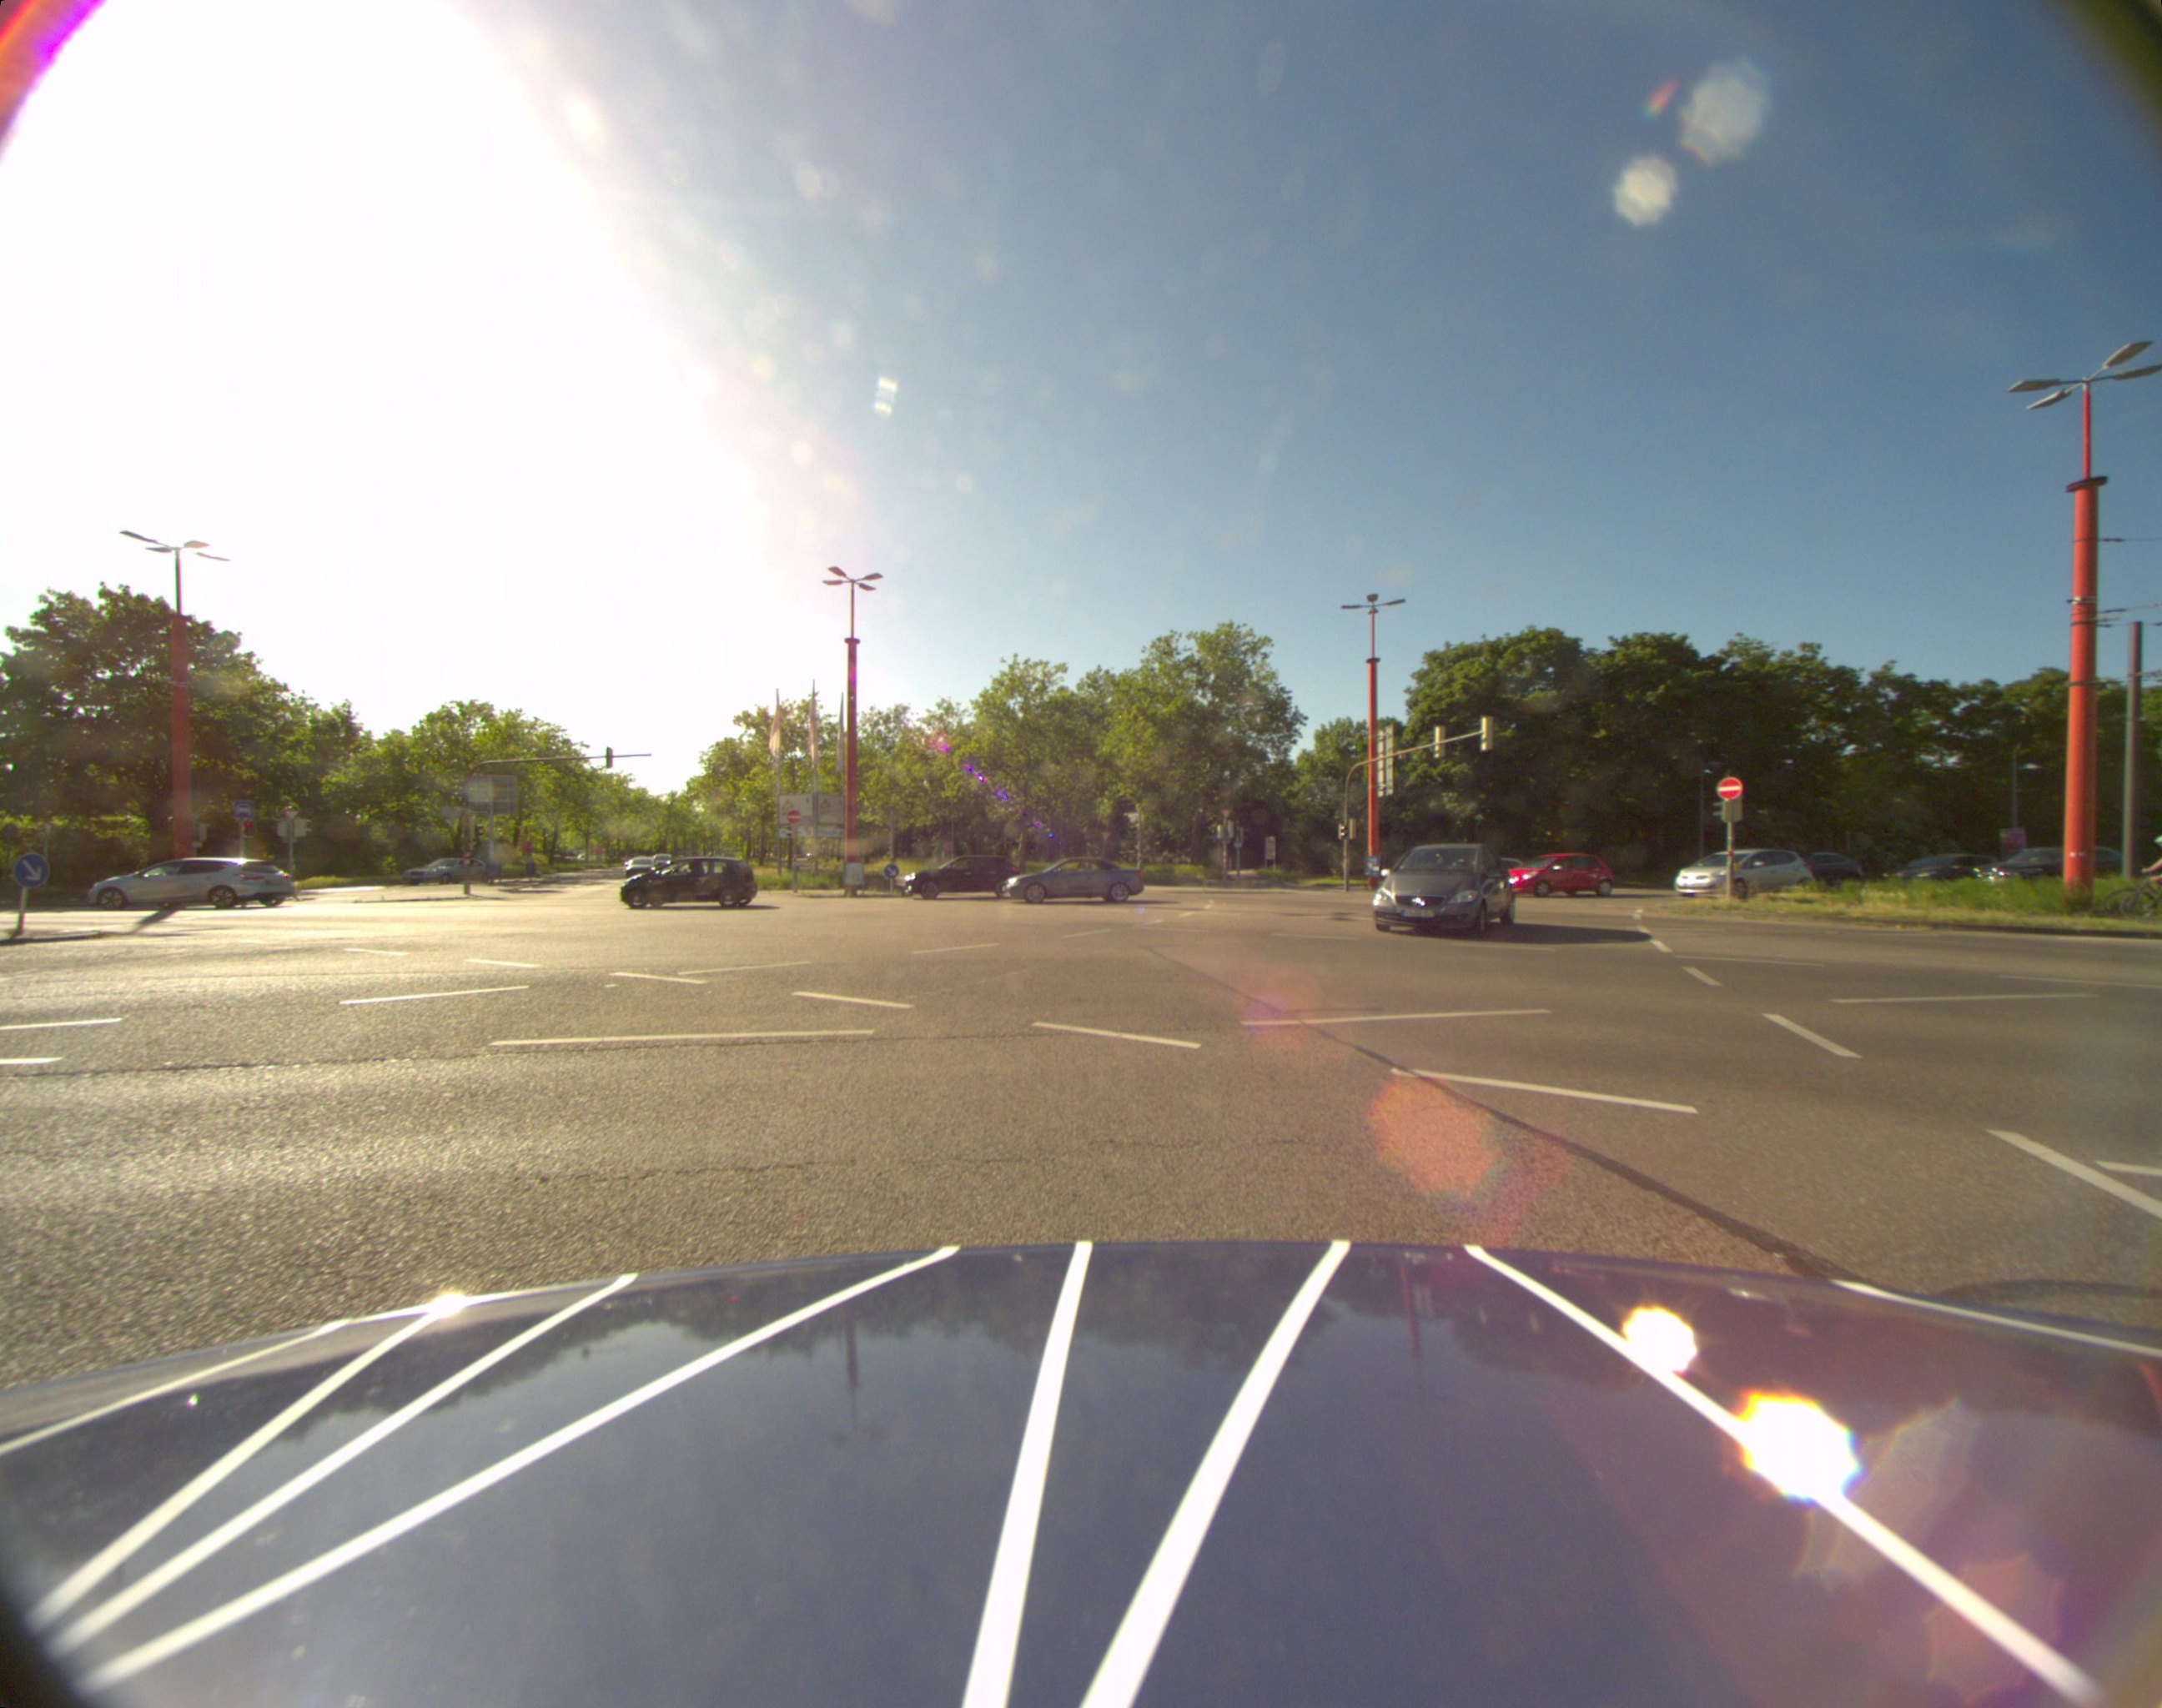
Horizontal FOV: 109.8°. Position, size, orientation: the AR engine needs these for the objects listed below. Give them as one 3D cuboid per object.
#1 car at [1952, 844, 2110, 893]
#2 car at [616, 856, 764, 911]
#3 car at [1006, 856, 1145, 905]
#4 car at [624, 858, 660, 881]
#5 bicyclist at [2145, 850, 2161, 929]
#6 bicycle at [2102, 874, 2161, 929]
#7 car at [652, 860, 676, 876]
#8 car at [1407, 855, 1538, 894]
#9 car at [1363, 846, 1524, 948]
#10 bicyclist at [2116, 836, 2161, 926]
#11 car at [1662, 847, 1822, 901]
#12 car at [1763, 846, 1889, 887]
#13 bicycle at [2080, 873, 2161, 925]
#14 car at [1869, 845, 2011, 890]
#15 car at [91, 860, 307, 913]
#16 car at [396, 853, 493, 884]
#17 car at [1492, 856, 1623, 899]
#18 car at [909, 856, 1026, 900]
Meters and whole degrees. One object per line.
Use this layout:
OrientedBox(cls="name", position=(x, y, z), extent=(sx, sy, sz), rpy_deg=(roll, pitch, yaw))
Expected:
OrientedBox(cls="car", position=(33.538, 0.503, 26.880), extent=(4.000, 1.652, 1.749), rpy_deg=(0, 0, -9))
OrientedBox(cls="car", position=(-11.188, 0.825, 21.963), extent=(3.453, 1.485, 1.621), rpy_deg=(0, 0, -10))
OrientedBox(cls="car", position=(-0.218, 0.813, 23.855), extent=(4.171, 1.430, 1.714), rpy_deg=(-1, 0, -9))
OrientedBox(cls="car", position=(-29.493, 1.016, 51.137), extent=(1.776, 1.499, 4.216), rpy_deg=(0, 0, -26))
OrientedBox(cls="bicyclist", position=(21.985, 0.702, 15.076), extent=(0.721, 1.517, 0.922), rpy_deg=(-8, 3, -31))
OrientedBox(cls="bicycle", position=(21.963, 0.968, 15.110), extent=(0.580, 1.065, 1.911), rpy_deg=(-1, 1, -30))
OrientedBox(cls="car", position=(-41.075, 1.404, 74.864), extent=(1.776, 1.499, 4.217), rpy_deg=(-1, -1, -25))
OrientedBox(cls="car", position=(15.451, 0.796, 30.087), extent=(4.386, 1.427, 1.749), rpy_deg=(-1, -1, -8))
OrientedBox(cls="car", position=(6.910, 0.666, 14.287), extent=(1.745, 1.631, 4.008), rpy_deg=(1, 1, 40))
OrientedBox(cls="bicyclist", position=(22.784, 0.558, 16.004), extent=(0.894, 1.856, 0.922), rpy_deg=(-1, -1, -21))
OrientedBox(cls="car", position=(21.501, 0.632, 24.777), extent=(4.000, 1.652, 1.749), rpy_deg=(-1, -1, -9))
OrientedBox(cls="car", position=(31.561, 0.521, 32.229), extent=(4.000, 1.652, 1.749), rpy_deg=(-1, -1, -9))
OrientedBox(cls="bicycle", position=(22.759, 0.951, 16.046), extent=(0.580, 1.065, 1.913), rpy_deg=(-1, 0, -19))
OrientedBox(cls="car", position=(33.288, 0.509, 29.495), extent=(4.000, 1.652, 1.749), rpy_deg=(-1, -1, -9))
OrientedBox(cls="car", position=(-26.600, 0.949, 23.051), extent=(4.137, 1.508, 1.726), rpy_deg=(0, -1, -9))
OrientedBox(cls="car", position=(-34.160, 0.782, 40.928), extent=(1.865, 1.508, 4.137), rpy_deg=(-1, -1, -2))
OrientedBox(cls="car", position=(16.888, 0.819, 27.004), extent=(3.727, 1.437, 1.685), rpy_deg=(-1, -1, -10))
OrientedBox(cls="car", position=(-4.029, 0.827, 27.136), extent=(3.963, 1.485, 1.714), rpy_deg=(-1, 0, -9))
